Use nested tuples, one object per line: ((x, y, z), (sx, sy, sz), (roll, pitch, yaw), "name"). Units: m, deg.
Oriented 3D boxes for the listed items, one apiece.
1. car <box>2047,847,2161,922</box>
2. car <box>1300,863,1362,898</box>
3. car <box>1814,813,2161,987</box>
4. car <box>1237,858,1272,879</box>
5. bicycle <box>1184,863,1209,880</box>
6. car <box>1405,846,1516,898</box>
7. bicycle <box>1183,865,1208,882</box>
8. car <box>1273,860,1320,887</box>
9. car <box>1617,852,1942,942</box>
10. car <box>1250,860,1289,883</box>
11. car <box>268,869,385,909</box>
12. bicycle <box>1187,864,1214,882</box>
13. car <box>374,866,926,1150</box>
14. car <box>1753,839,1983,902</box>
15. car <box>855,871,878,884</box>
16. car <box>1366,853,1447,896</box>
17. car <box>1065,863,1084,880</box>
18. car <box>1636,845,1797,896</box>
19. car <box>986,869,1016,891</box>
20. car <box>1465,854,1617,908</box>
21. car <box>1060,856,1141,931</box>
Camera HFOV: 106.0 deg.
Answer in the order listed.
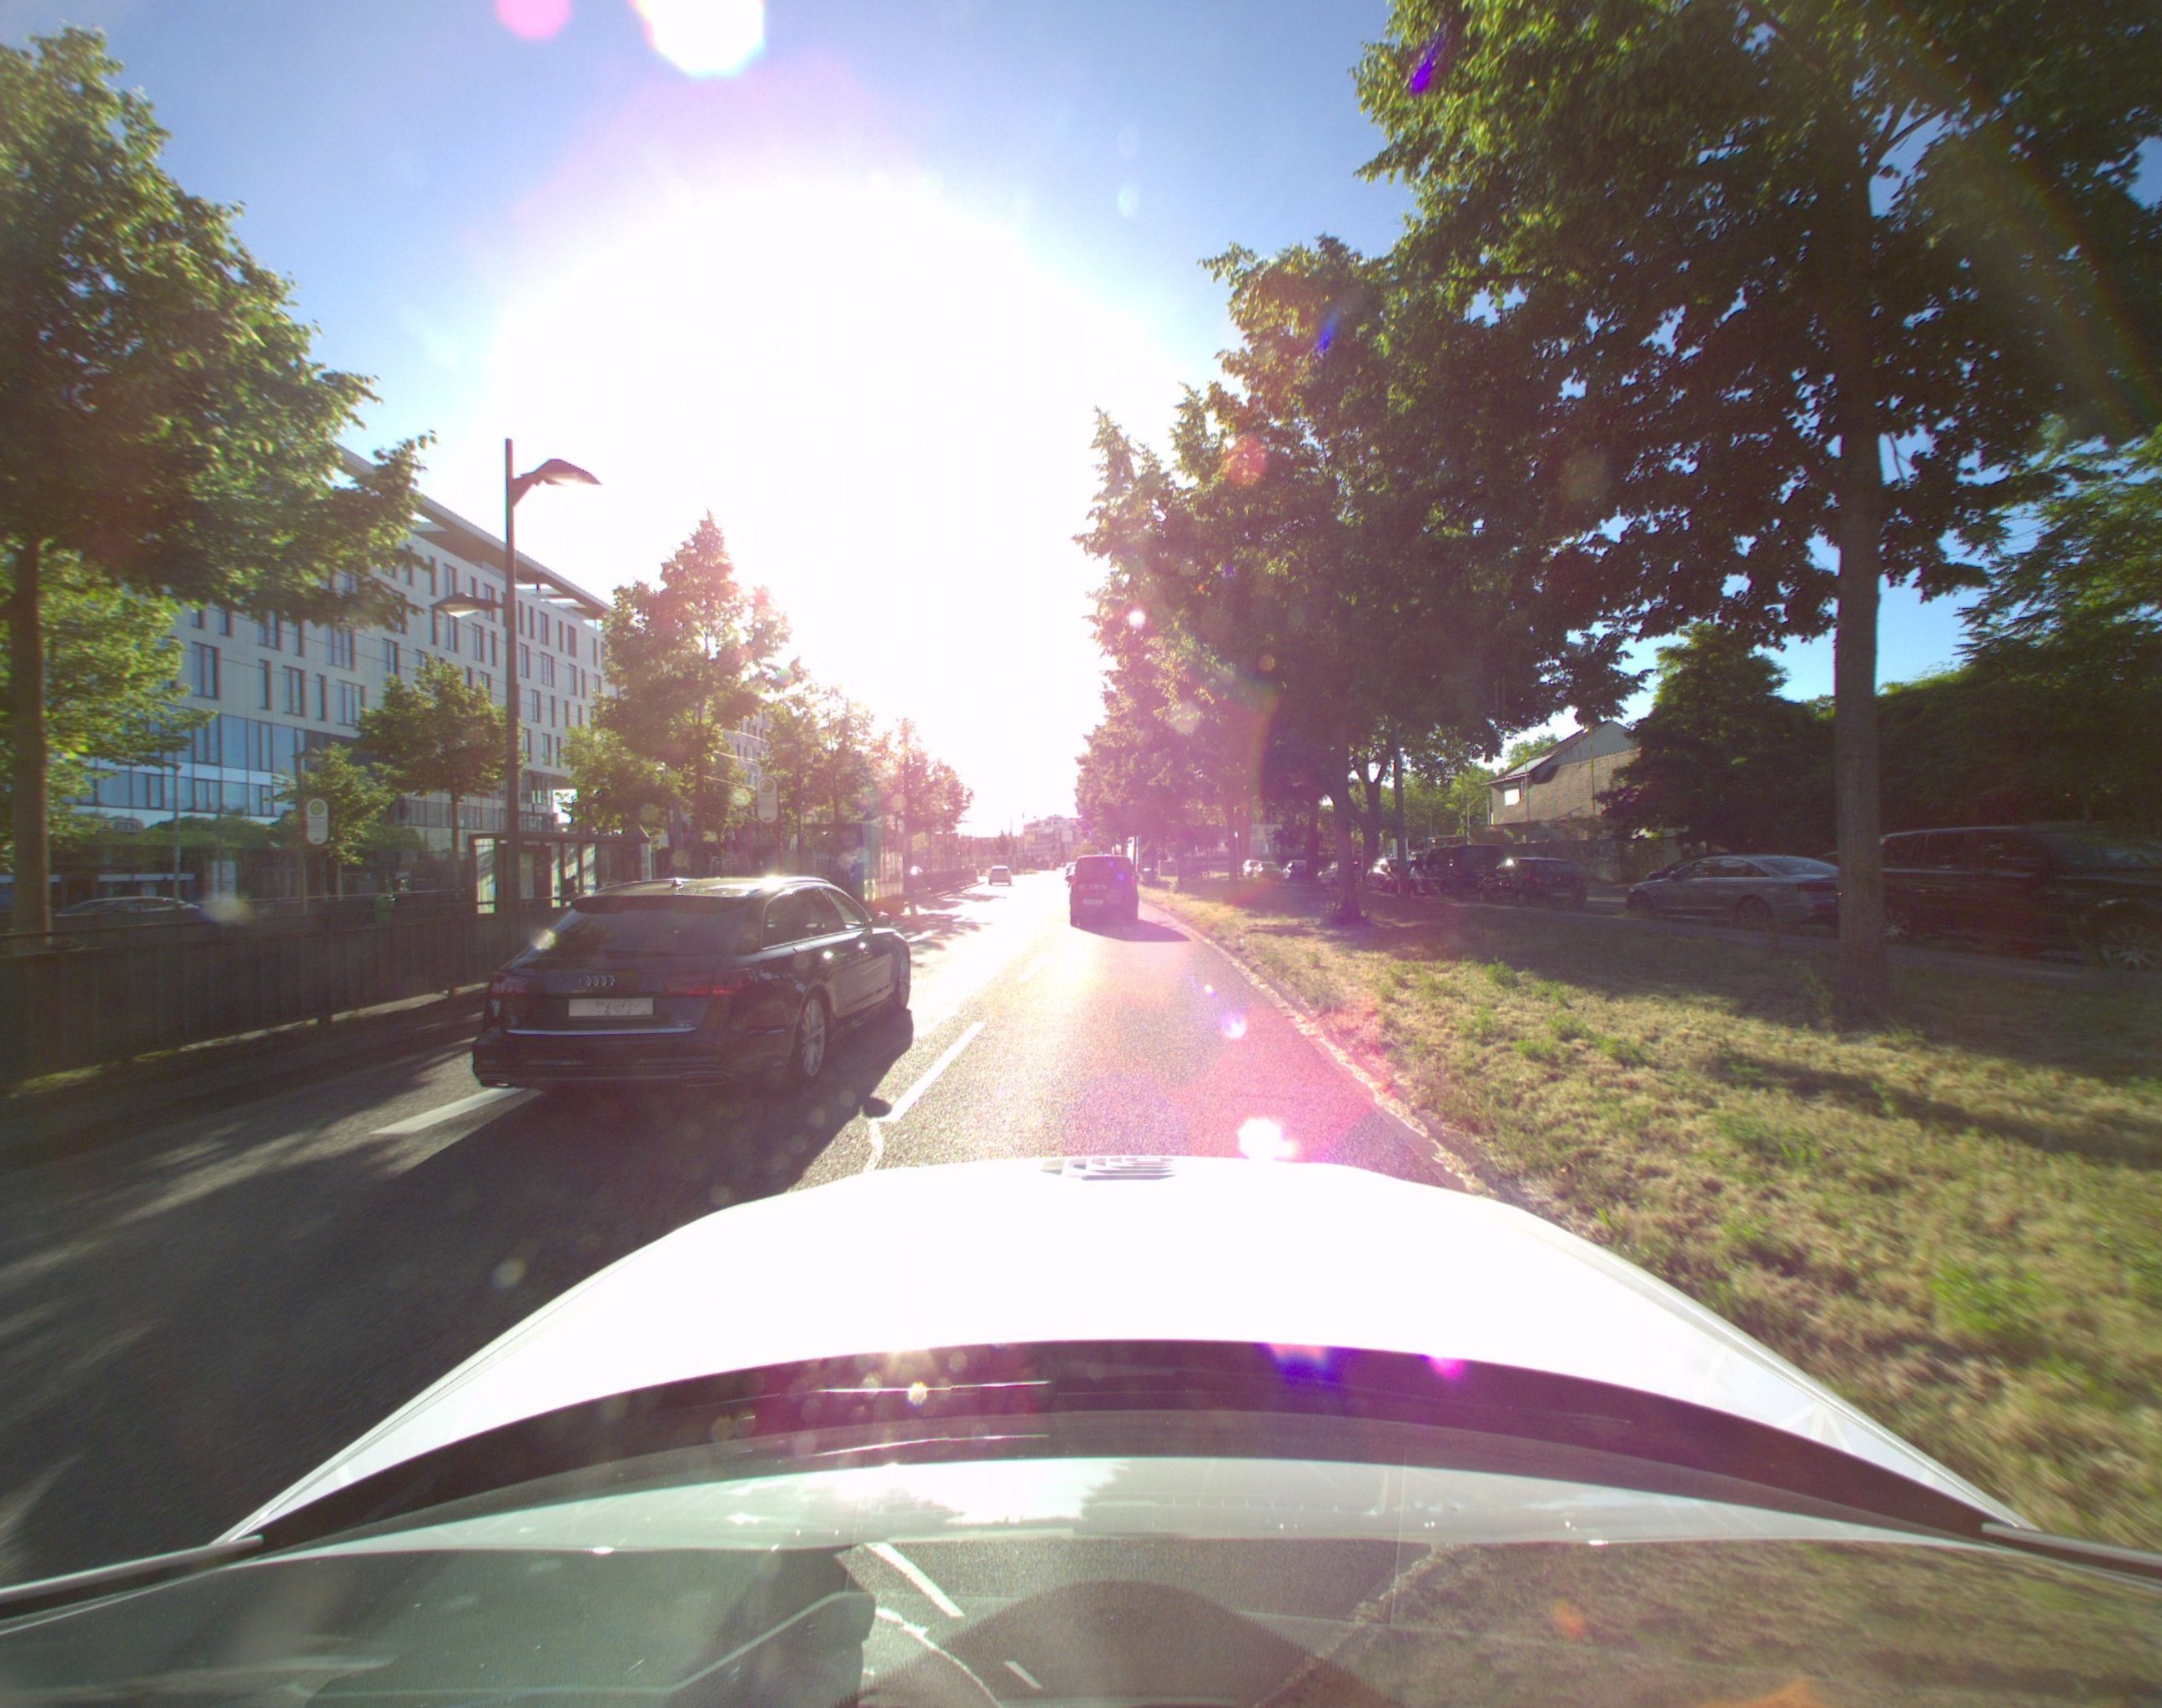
((21.670, 0.558, 15.388), (1.724, 1.371, 4.315), (-4, -2, 2), "car")
((13.291, 1.400, 43.561), (1.867, 1.684, 3.995), (-3, -1, -3), "car")
((12.323, 0.521, 10.302), (1.863, 1.820, 4.896), (0, -1, 3), "car")
((14.266, 1.229, 67.162), (1.867, 1.684, 3.995), (0, -1, -3), "car")
((8.669, 1.302, 61.104), (1.773, 1.268, 0.479), (-1, -1, -1), "bicycle")
((13.015, 0.624, 28.218), (1.866, 1.684, 3.996), (0, -1, -2), "car")
((8.463, 1.428, 60.055), (1.773, 1.268, 0.479), (0, -2, -1), "bicycle")
((14.125, 1.299, 53.614), (1.867, 1.684, 3.995), (0, -1, -3), "car")
((12.773, 0.743, 15.457), (1.866, 1.434, 4.897), (0, -1, -2), "car")
((14.477, 1.339, 62.671), (1.867, 1.684, 3.995), (0, -1, -3), "car")
((-40.147, 1.838, 43.510), (1.988, 2.014, 4.560), (0, -1, -1), "car")
((8.650, 1.360, 59.045), (1.912, 1.268, 0.479), (-1, -1, -1), "bicycle")
((-2.780, 0.858, 6.893), (1.946, 1.480, 5.083), (0, -1, 0), "car")
((21.901, 0.463, 23.005), (1.865, 1.483, 4.688), (-3, -1, -1), "car")
((-29.631, 3.254, 112.436), (1.986, 1.765, 4.002), (0, -1, 2), "car")
((13.371, 0.842, 33.712), (1.864, 1.684, 4.001), (0, -1, 2), "car")
((-0.808, 2.135, 99.570), (2.263, 2.014, 4.708), (-1, -1, -1), "car")
((22.011, 0.576, 28.497), (1.865, 1.547, 4.688), (-3, -1, -1), "car")
((-6.091, 1.963, 62.399), (1.988, 1.618, 3.997), (0, -1, -2), "car")
((12.657, 0.740, 22.721), (1.866, 1.368, 3.996), (0, -1, -2), "car")
((0.434, 1.012, 22.112), (1.805, 1.838, 3.993), (0, -1, -5), "car")
